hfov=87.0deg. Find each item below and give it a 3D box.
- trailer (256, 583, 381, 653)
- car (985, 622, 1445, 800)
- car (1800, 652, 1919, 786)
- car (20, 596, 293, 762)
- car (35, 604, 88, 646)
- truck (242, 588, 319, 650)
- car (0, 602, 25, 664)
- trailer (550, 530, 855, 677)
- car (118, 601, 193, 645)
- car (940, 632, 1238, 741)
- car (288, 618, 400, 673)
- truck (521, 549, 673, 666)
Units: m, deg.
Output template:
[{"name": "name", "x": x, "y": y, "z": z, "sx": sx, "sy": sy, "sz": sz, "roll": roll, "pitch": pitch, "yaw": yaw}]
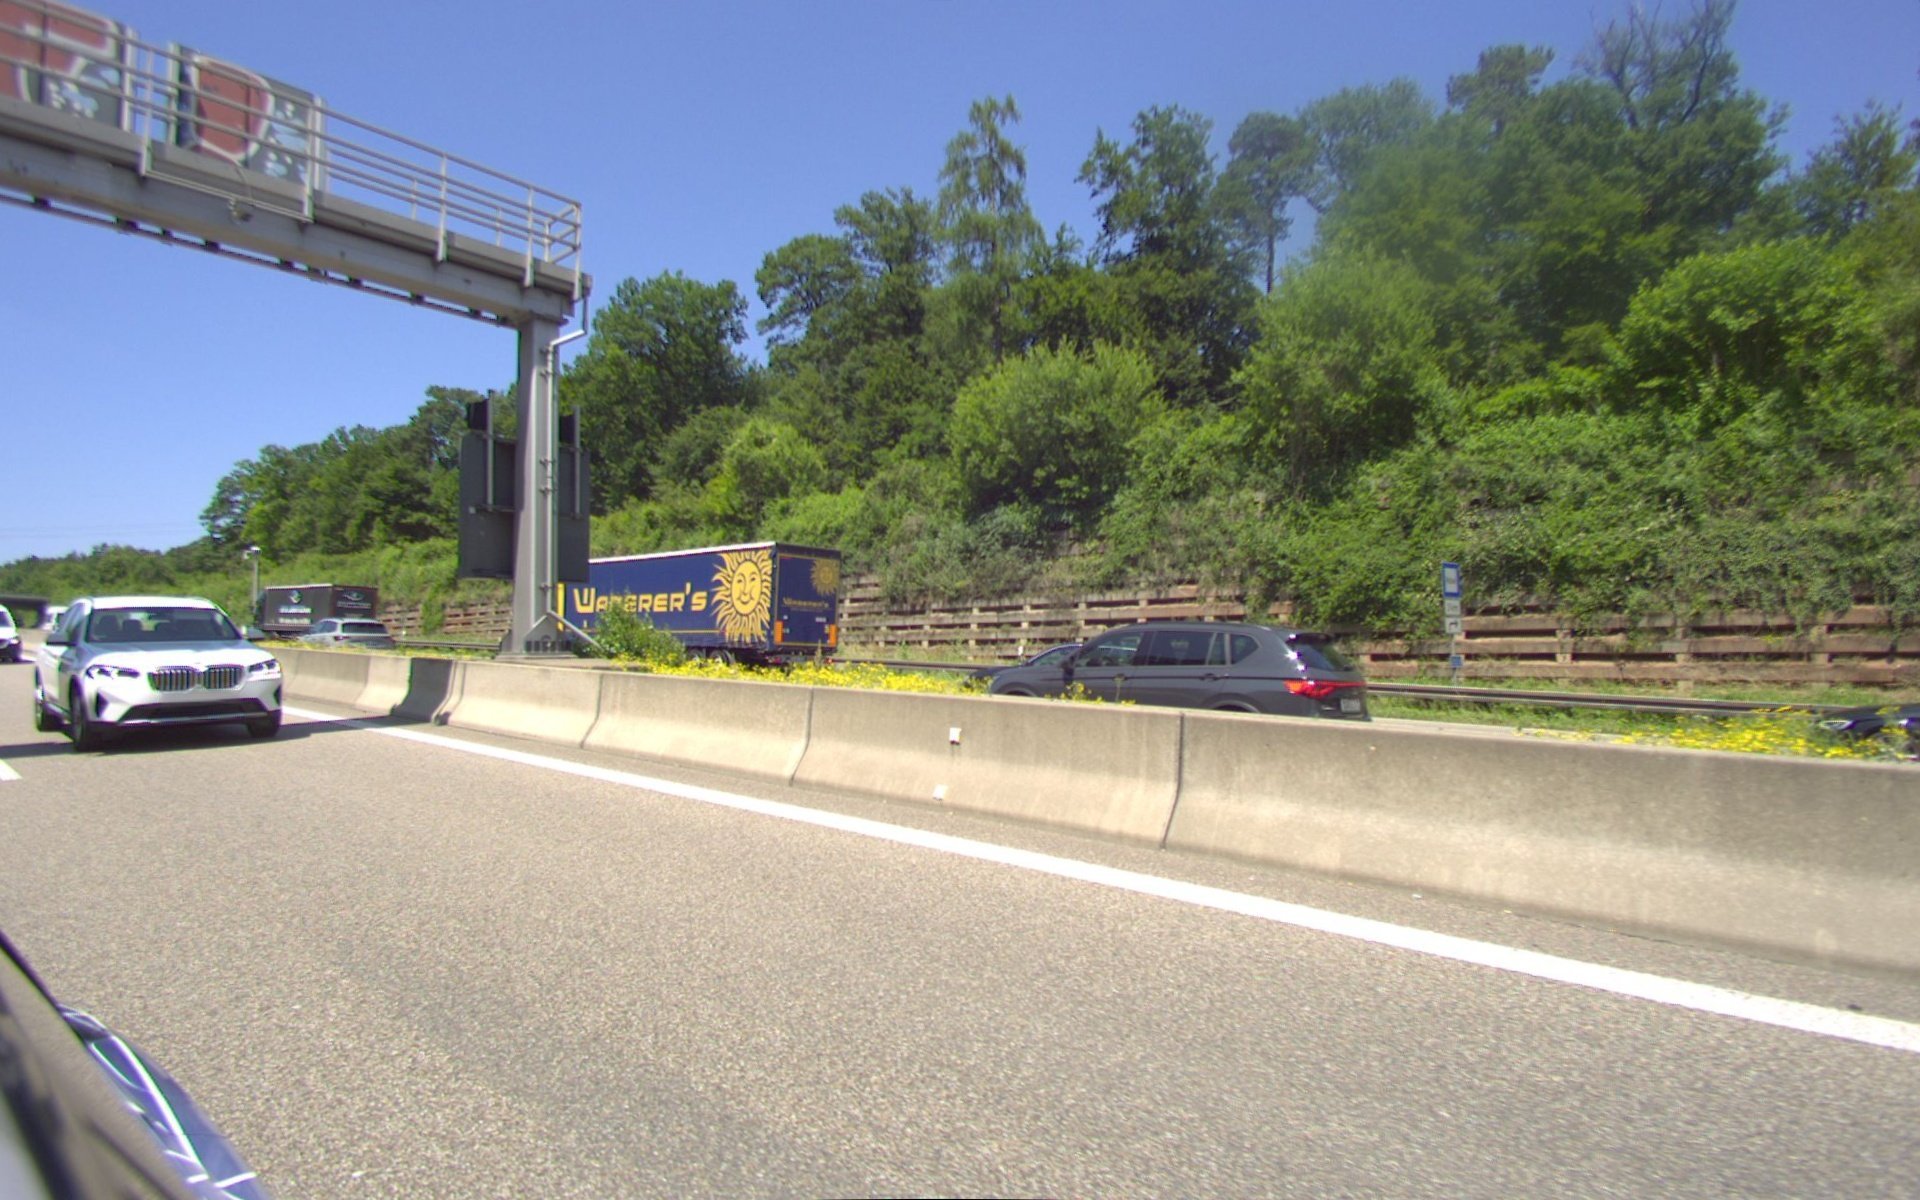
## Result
[{"name": "trailer", "x": -42.136, "y": 1.228, "z": 66.135, "sx": 13.988, "sy": 4.132, "sz": 2.947, "roll": -1, "pitch": -4, "yaw": 41}, {"name": "car", "x": 2.720, "y": 1.091, "z": 11.521, "sx": 4.710, "sy": 1.617, "sz": 1.982, "roll": -1, "pitch": -3, "yaw": 41}, {"name": "car", "x": 13.080, "y": 1.476, "z": 12.308, "sx": 4.369, "sy": 1.616, "sz": 1.781, "roll": -1, "pitch": -3, "yaw": 41}, {"name": "car", "x": -9.808, "y": 0.824, "z": 12.230, "sx": 4.366, "sy": 1.656, "sz": 1.826, "roll": -1, "pitch": -1, "yaw": 41}, {"name": "car", "x": -61.187, "y": 1.723, "z": 68.895, "sx": 4.843, "sy": 2.694, "sz": 1.977, "roll": -1, "pitch": -3, "yaw": 41}, {"name": "truck", "x": -47.754, "y": 1.349, "z": 71.065, "sx": 5.865, "sy": 4.090, "sz": 2.903, "roll": -1, "pitch": -4, "yaw": 41}, {"name": "car", "x": -29.636, "y": 0.996, "z": 30.357, "sx": 4.501, "sy": 1.788, "sz": 1.972, "roll": -1, "pitch": 0, "yaw": 43}, {"name": "trailer", "x": -9.542, "y": 0.275, "z": 35.236, "sx": 14.467, "sy": 4.239, "sz": 2.945, "roll": -1, "pitch": -4, "yaw": 44}, {"name": "car", "x": -52.035, "y": 1.527, "z": 65.408, "sx": 5.681, "sy": 2.694, "sz": 2.725, "roll": -1, "pitch": -3, "yaw": 41}, {"name": "car", "x": 2.115, "y": 1.391, "z": 17.546, "sx": 4.860, "sy": 1.617, "sz": 1.982, "roll": -1, "pitch": -3, "yaw": 41}, {"name": "car", "x": -19.390, "y": 1.415, "z": 31.798, "sx": 4.115, "sy": 1.617, "sz": 1.824, "roll": -1, "pitch": -3, "yaw": 41}, {"name": "truck", "x": -14.373, "y": 0.375, "z": 39.879, "sx": 6.459, "sy": 4.234, "sz": 2.918, "roll": -1, "pitch": -4, "yaw": 44}]
